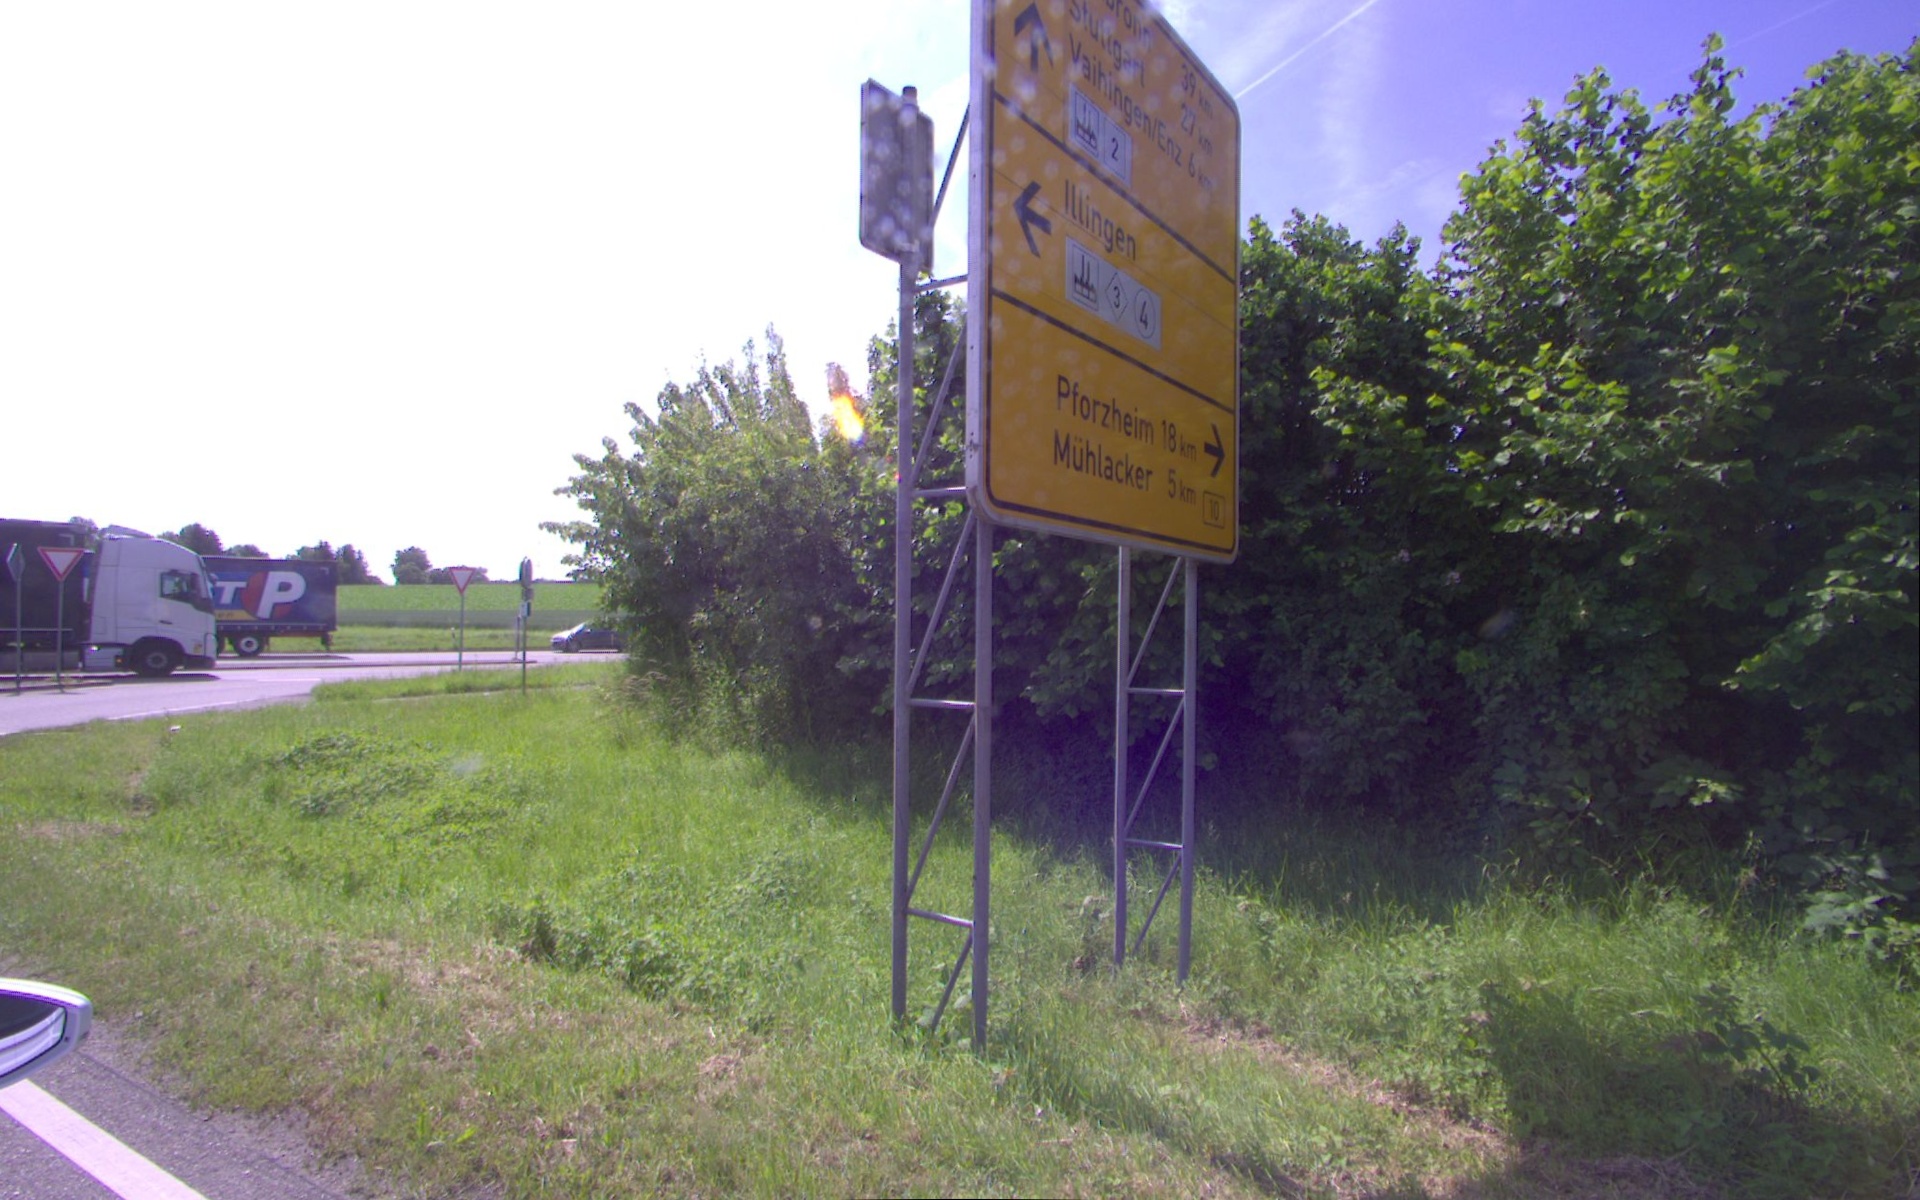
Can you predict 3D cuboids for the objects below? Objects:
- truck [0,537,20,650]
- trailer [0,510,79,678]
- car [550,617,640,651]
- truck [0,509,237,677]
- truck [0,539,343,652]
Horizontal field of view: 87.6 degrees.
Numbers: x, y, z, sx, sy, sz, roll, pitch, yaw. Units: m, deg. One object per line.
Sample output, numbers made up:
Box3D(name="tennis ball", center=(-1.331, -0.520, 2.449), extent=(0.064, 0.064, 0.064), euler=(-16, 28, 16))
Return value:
Box3D(name="truck", center=(-37.796, -0.304, 34.954), extent=(6.870, 4.046, 3.005), euler=(2, -1, -37))
Box3D(name="trailer", center=(-28.352, -0.293, 21.841), extent=(13.597, 4.114, 2.771), euler=(2, -1, -44))
Box3D(name="car", center=(-18.306, 1.734, 50.275), extent=(3.949, 1.616, 1.654), euler=(2, -3, -34))
Box3D(name="truck", center=(-23.321, -0.122, 26.938), extent=(2.766, 4.114, 5.799), euler=(1, -1, 41))
Box3D(name="truck", center=(-32.459, -0.071, 38.953), extent=(14.156, 4.031, 3.005), euler=(2, -1, -37))
